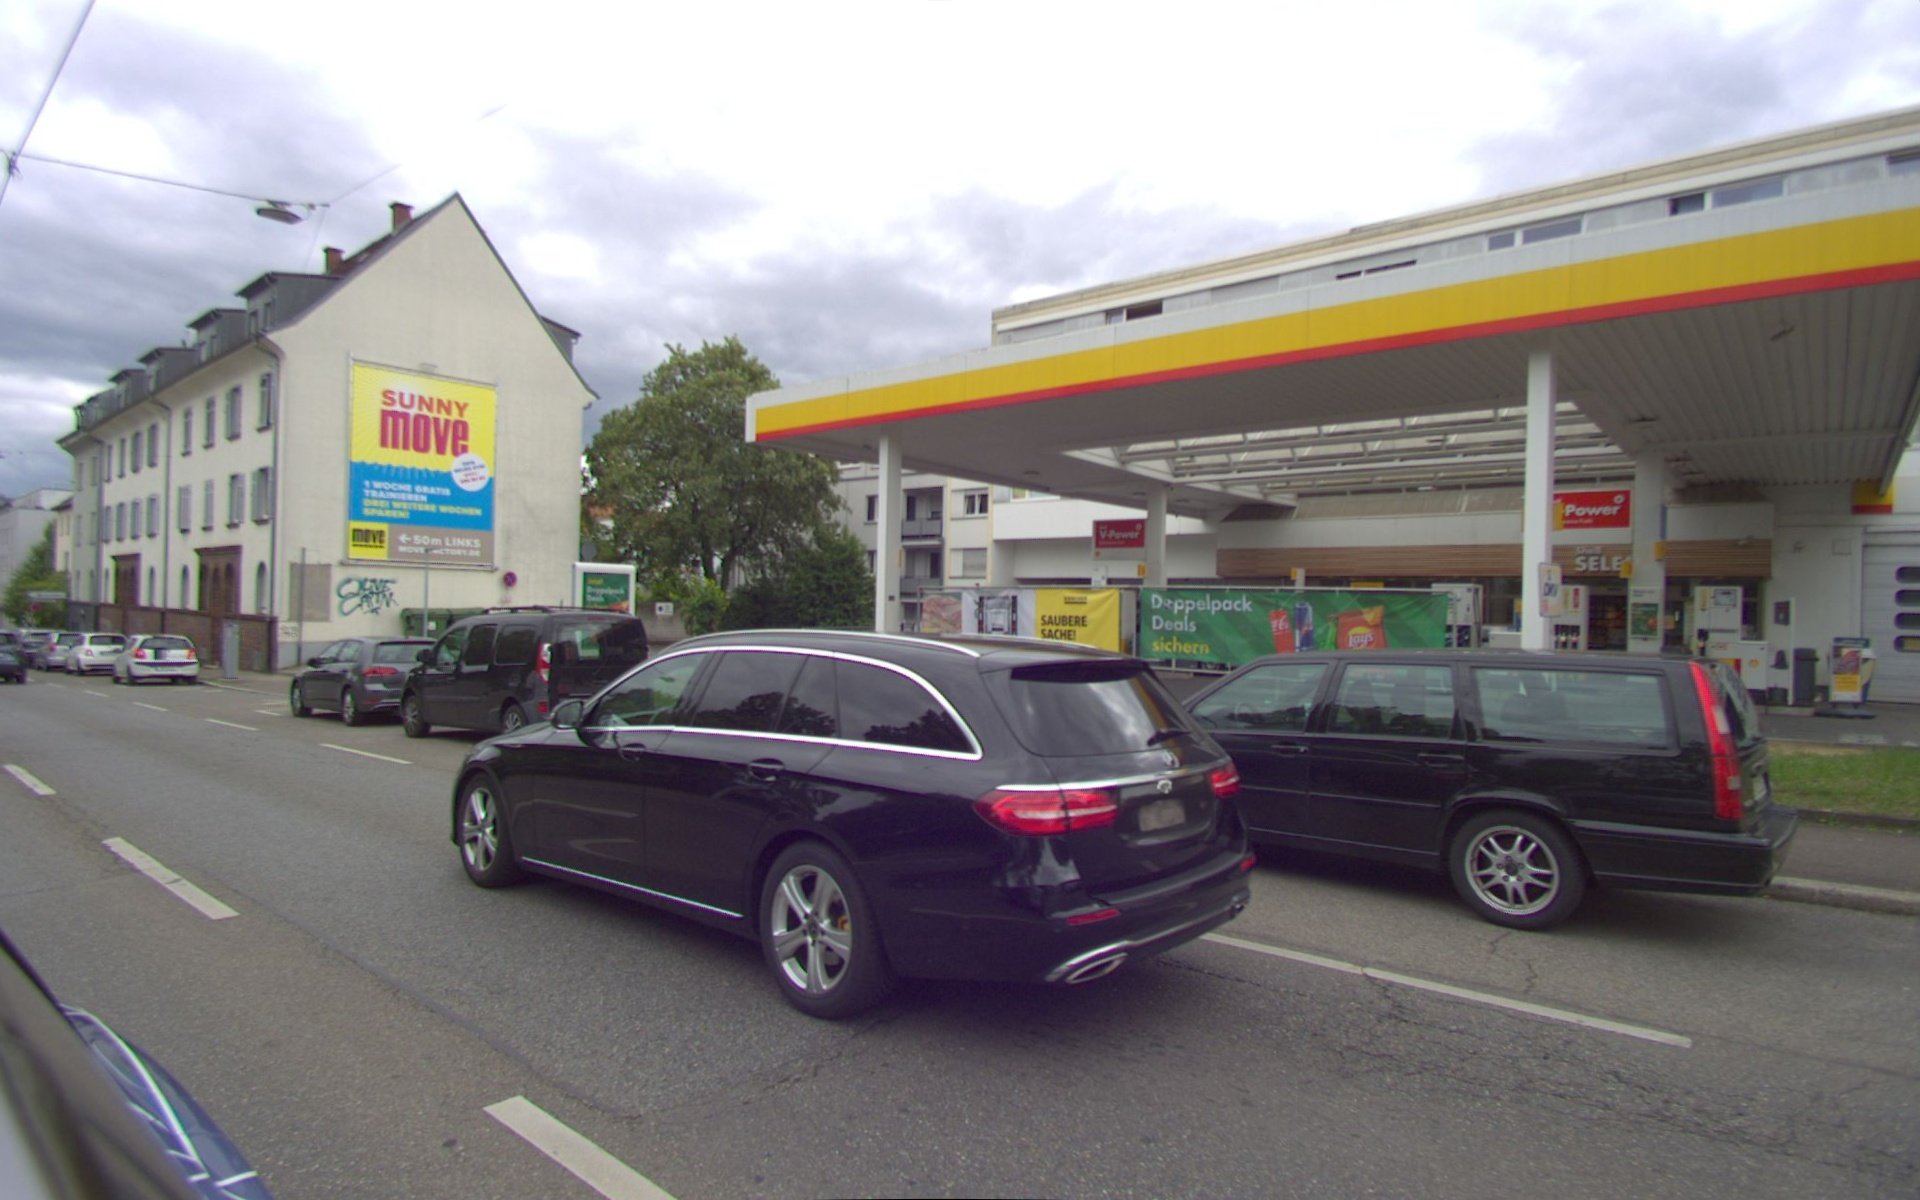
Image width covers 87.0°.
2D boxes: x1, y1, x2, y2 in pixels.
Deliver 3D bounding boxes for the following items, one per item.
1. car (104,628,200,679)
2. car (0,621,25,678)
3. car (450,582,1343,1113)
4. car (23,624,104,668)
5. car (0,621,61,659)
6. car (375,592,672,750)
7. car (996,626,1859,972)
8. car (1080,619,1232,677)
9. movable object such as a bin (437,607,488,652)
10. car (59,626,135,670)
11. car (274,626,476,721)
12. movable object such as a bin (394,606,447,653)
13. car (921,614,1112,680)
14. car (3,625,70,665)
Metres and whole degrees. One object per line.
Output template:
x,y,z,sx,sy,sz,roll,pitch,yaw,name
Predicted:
-23.911,1.563,29.918,3.663,1.436,1.602,-2,-3,42,car
-28.457,1.409,29.216,3.716,1.567,1.665,-2,-4,40,car
-0.677,0.767,5.010,4.497,1.477,1.759,-2,-3,42,car
-34.762,1.769,39.213,4.079,1.570,1.709,-2,-5,41,car
-42.691,1.821,46.178,4.640,1.634,1.826,-2,-3,40,car
-6.200,0.921,14.119,4.697,1.849,1.833,-2,-4,40,car
2.597,0.927,6.548,4.744,1.442,1.778,-2,-4,43,car
5.261,1.258,27.354,3.634,1.431,1.779,-2,-2,41,car
-17.537,1.054,35.701,1.104,1.550,1.251,-2,-4,41,movable object such as a bin
-30.742,1.704,36.024,3.602,1.486,1.531,-2,-3,41,car
-10.312,1.224,17.717,4.216,1.461,1.772,-2,-4,41,car
-18.480,1.034,34.664,1.104,1.550,1.251,-2,-4,41,movable object such as a bin
1.281,1.090,24.299,4.414,1.431,1.779,-2,-2,41,car
-38.803,1.889,42.485,4.502,1.611,1.708,-2,-4,43,car
